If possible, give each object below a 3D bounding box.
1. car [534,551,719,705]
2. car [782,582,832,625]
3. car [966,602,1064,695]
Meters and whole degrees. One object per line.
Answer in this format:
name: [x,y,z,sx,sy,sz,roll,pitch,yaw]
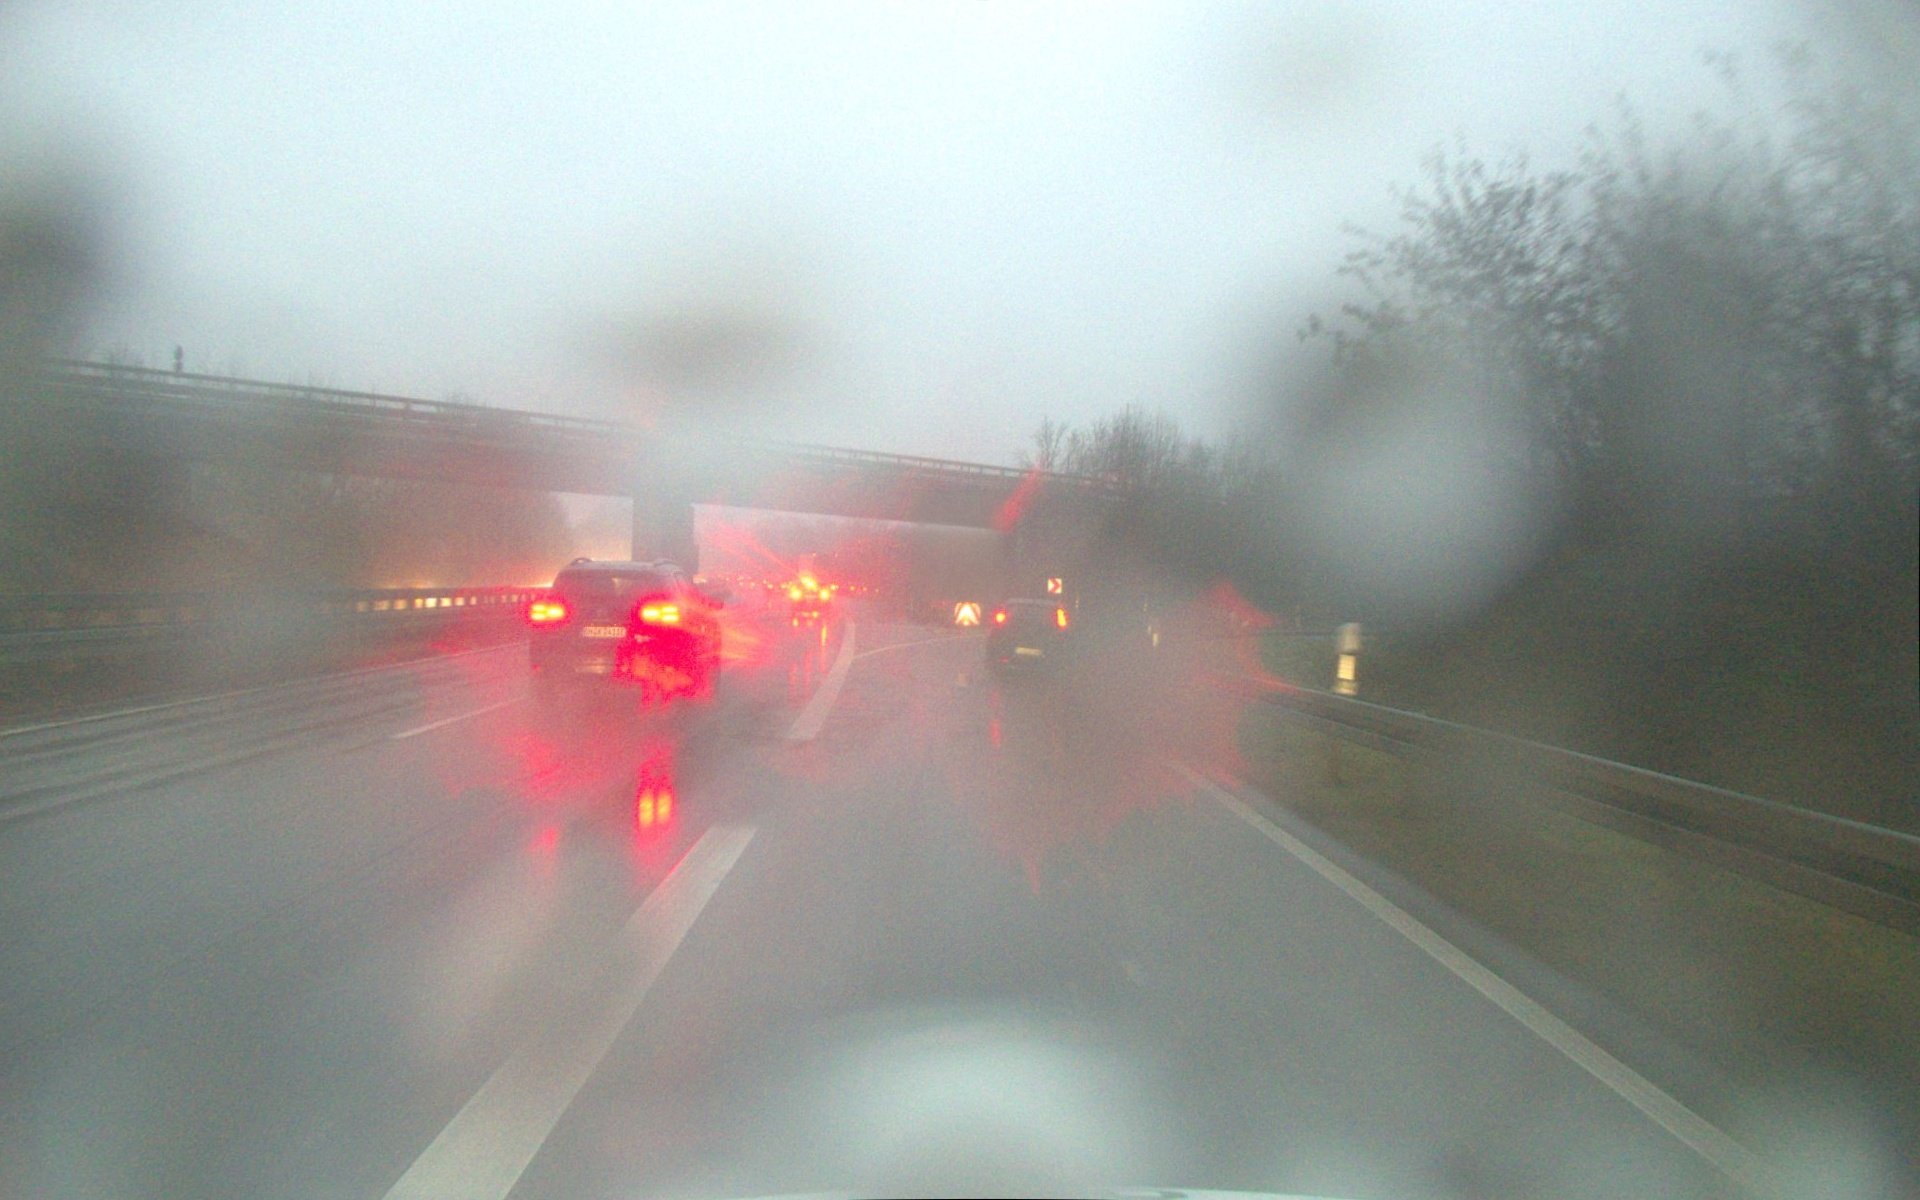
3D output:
car: [-3.981,0.277,20.317,1.956,1.694,3.993,0,1,-8]
car: [-6.609,0.141,71.735,1.840,1.645,3.874,2,2,-1]
car: [1.097,0.903,32.563,1.696,1.453,3.767,-5,1,3]
